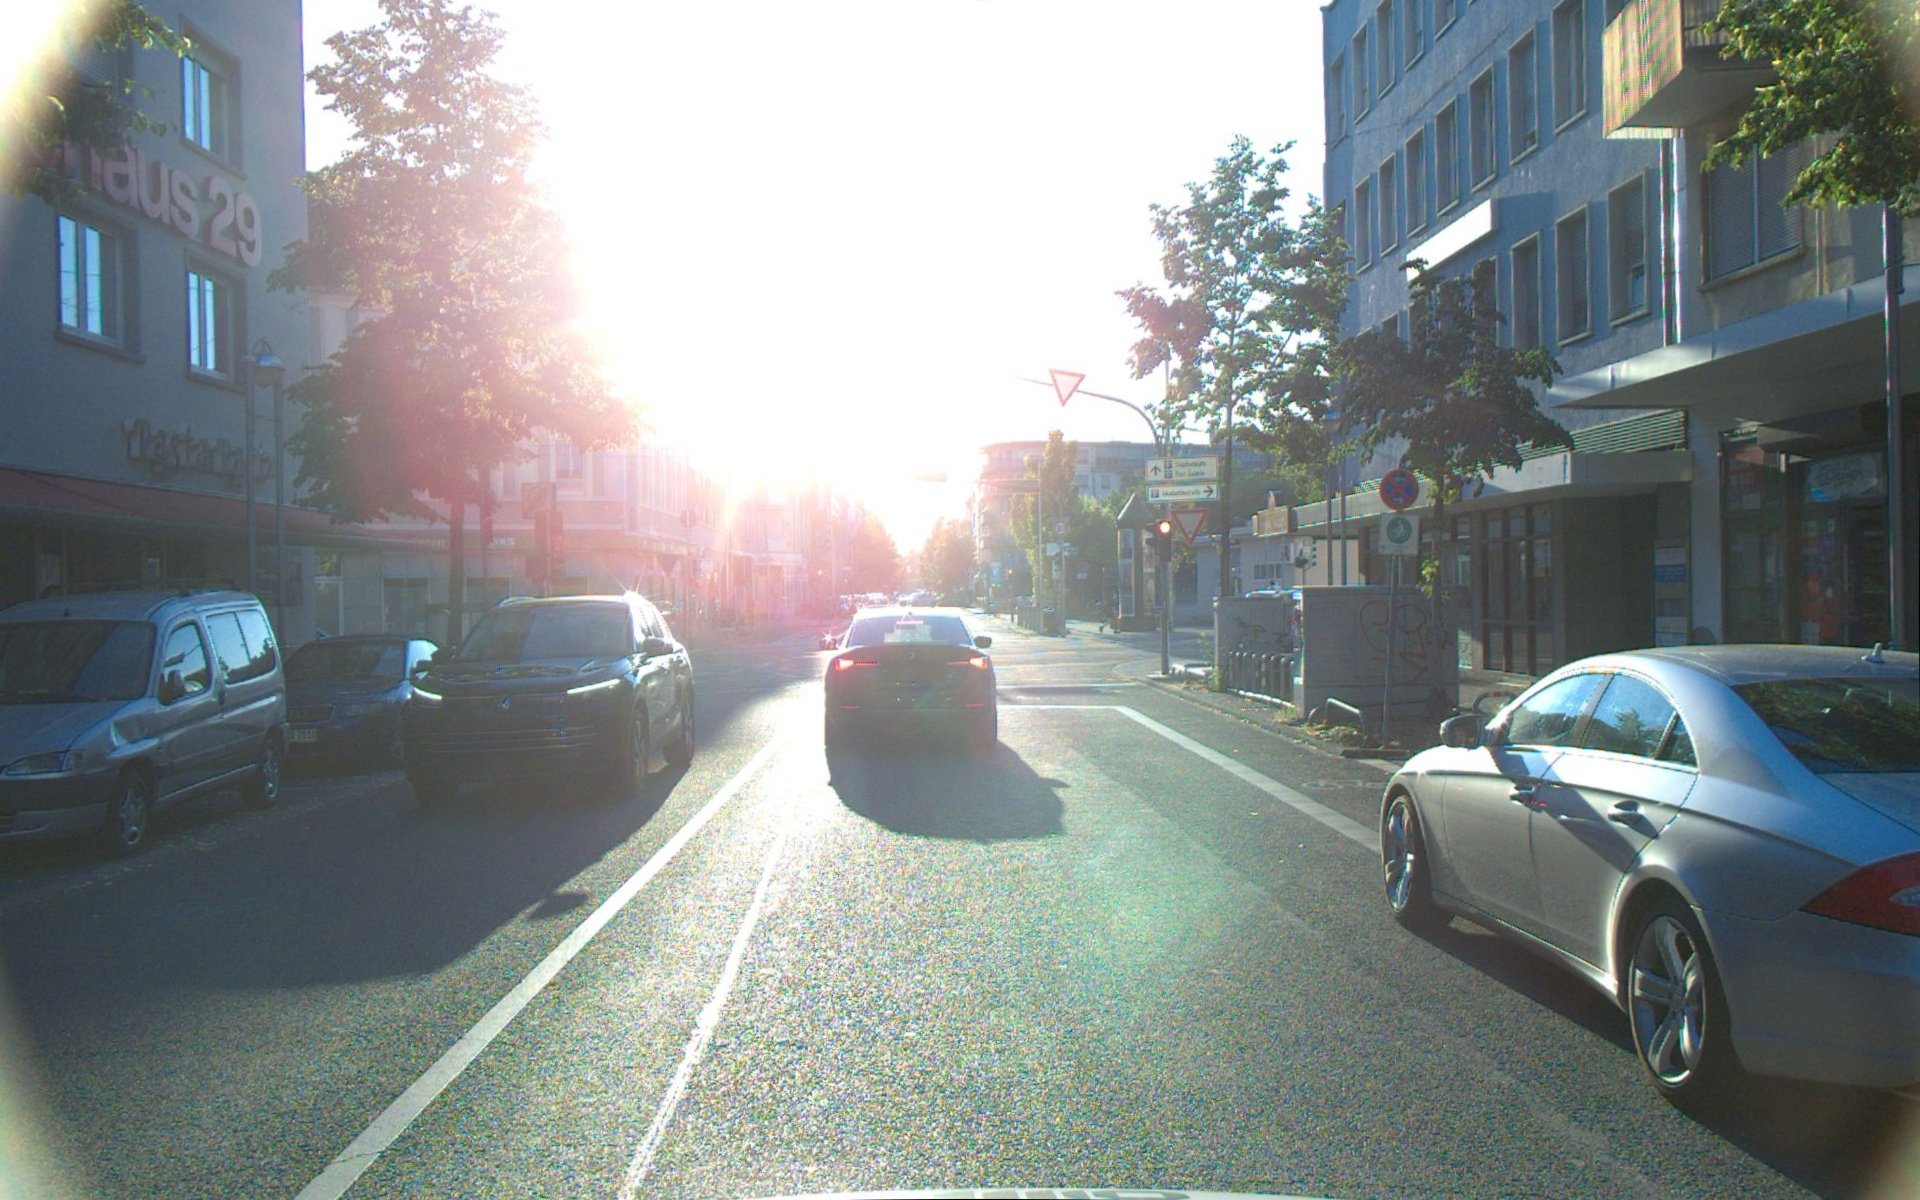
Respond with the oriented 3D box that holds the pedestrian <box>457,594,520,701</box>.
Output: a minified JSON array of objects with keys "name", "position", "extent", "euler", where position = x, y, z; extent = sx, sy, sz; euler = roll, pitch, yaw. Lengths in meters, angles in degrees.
[{"name":"pedestrian","position":[-8.622,0.860,30.233],"extent":[0.987,1.893,0.636],"euler":[-2,0,-22]}]

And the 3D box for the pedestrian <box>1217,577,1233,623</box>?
[{"name":"pedestrian","position":[10.194,0.002,63.645],"extent":[0.436,1.765,0.430],"euler":[1,0,-26]}]

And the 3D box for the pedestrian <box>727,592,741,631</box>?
[{"name":"pedestrian","position":[-11.149,0.574,81.561],"extent":[0.630,1.909,0.632],"euler":[1,0,-2]}]

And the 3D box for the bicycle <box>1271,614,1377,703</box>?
[{"name":"bicycle","position":[5.152,0.822,23.411],"extent":[1.411,1.241,0.383],"euler":[1,0,0]}]

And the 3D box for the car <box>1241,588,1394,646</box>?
[{"name":"car","position":[10.256,0.468,47.458],"extent":[3.926,1.559,1.794],"euler":[-1,0,-19]}]

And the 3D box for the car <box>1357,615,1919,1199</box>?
[{"name":"car","position":[3.020,0.819,6.316],"extent":[1.707,1.425,4.637],"euler":[1,0,-2]}]

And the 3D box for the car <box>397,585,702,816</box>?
[{"name":"car","position":[-3.456,0.750,14.741],"extent":[1.695,1.704,4.294],"euler":[-2,0,-1]}]

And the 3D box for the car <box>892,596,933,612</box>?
[{"name":"car","position":[-4.874,0.367,169.591],"extent":[3.962,1.545,1.798],"euler":[-2,0,-39]}]

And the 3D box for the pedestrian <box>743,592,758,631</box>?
[{"name":"pedestrian","position":[-10.341,0.583,81.755],"extent":[0.663,1.909,0.617],"euler":[1,0,-2]}]

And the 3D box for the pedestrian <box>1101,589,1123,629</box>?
[{"name":"pedestrian","position":[5.891,0.346,64.289],"extent":[0.721,1.556,0.470],"euler":[1,0,-17]}]

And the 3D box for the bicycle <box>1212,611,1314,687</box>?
[{"name":"bicycle","position":[4.888,0.792,26.722],"extent":[1.580,1.191,0.318],"euler":[-1,0,0]}]

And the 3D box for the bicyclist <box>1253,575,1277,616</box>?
[{"name":"bicyclist","position":[11.228,-0.154,60.846],"extent":[0.707,1.507,0.550],"euler":[0,-1,33]}]

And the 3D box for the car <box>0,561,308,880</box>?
[{"name":"car","position":[-6.298,0.774,12.071],"extent":[1.636,1.920,4.050],"euler":[-3,0,-4]}]

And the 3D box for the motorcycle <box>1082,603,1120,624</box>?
[{"name":"motorcycle","position":[6.733,0.628,79.199],"extent":[1.640,0.955,0.853],"euler":[-1,0,-13]}]

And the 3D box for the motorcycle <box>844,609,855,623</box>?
[{"name":"motorcycle","position":[-7.175,1.038,107.463],"extent":[0.563,0.931,2.200],"euler":[1,0,-1]}]

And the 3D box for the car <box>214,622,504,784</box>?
[{"name":"car","position":[-6.413,1.026,18.176],"extent":[1.688,1.440,4.278],"euler":[-3,0,-2]}]

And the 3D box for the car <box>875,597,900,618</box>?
[{"name":"car","position":[-5.552,0.575,126.370],"extent":[1.781,1.545,3.999],"euler":[-1,0,-1]}]

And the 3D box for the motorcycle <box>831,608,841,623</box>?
[{"name":"motorcycle","position":[-8.123,1.028,108.254],"extent":[0.563,0.931,2.200],"euler":[1,0,-1]}]

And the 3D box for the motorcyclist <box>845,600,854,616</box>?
[{"name":"motorcyclist","position":[-7.162,0.498,107.355],"extent":[0.563,1.013,0.702],"euler":[1,0,-1]}]

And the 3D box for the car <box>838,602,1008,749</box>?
[{"name":"car","position":[-0.451,0.754,18.589],"extent":[1.702,1.453,4.221],"euler":[0,0,-2]}]

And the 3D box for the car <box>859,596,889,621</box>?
[{"name":"car","position":[-5.596,0.565,107.938],"extent":[1.781,1.545,3.999],"euler":[-1,0,-1]}]

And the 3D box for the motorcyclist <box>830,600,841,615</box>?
[{"name":"motorcyclist","position":[-8.117,0.488,108.169],"extent":[0.563,0.931,2.200],"euler":[1,0,-1]}]

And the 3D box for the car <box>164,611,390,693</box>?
[{"name":"car","position":[-14.311,1.045,34.660],"extent":[4.256,1.524,1.983],"euler":[-1,0,-27]}]
